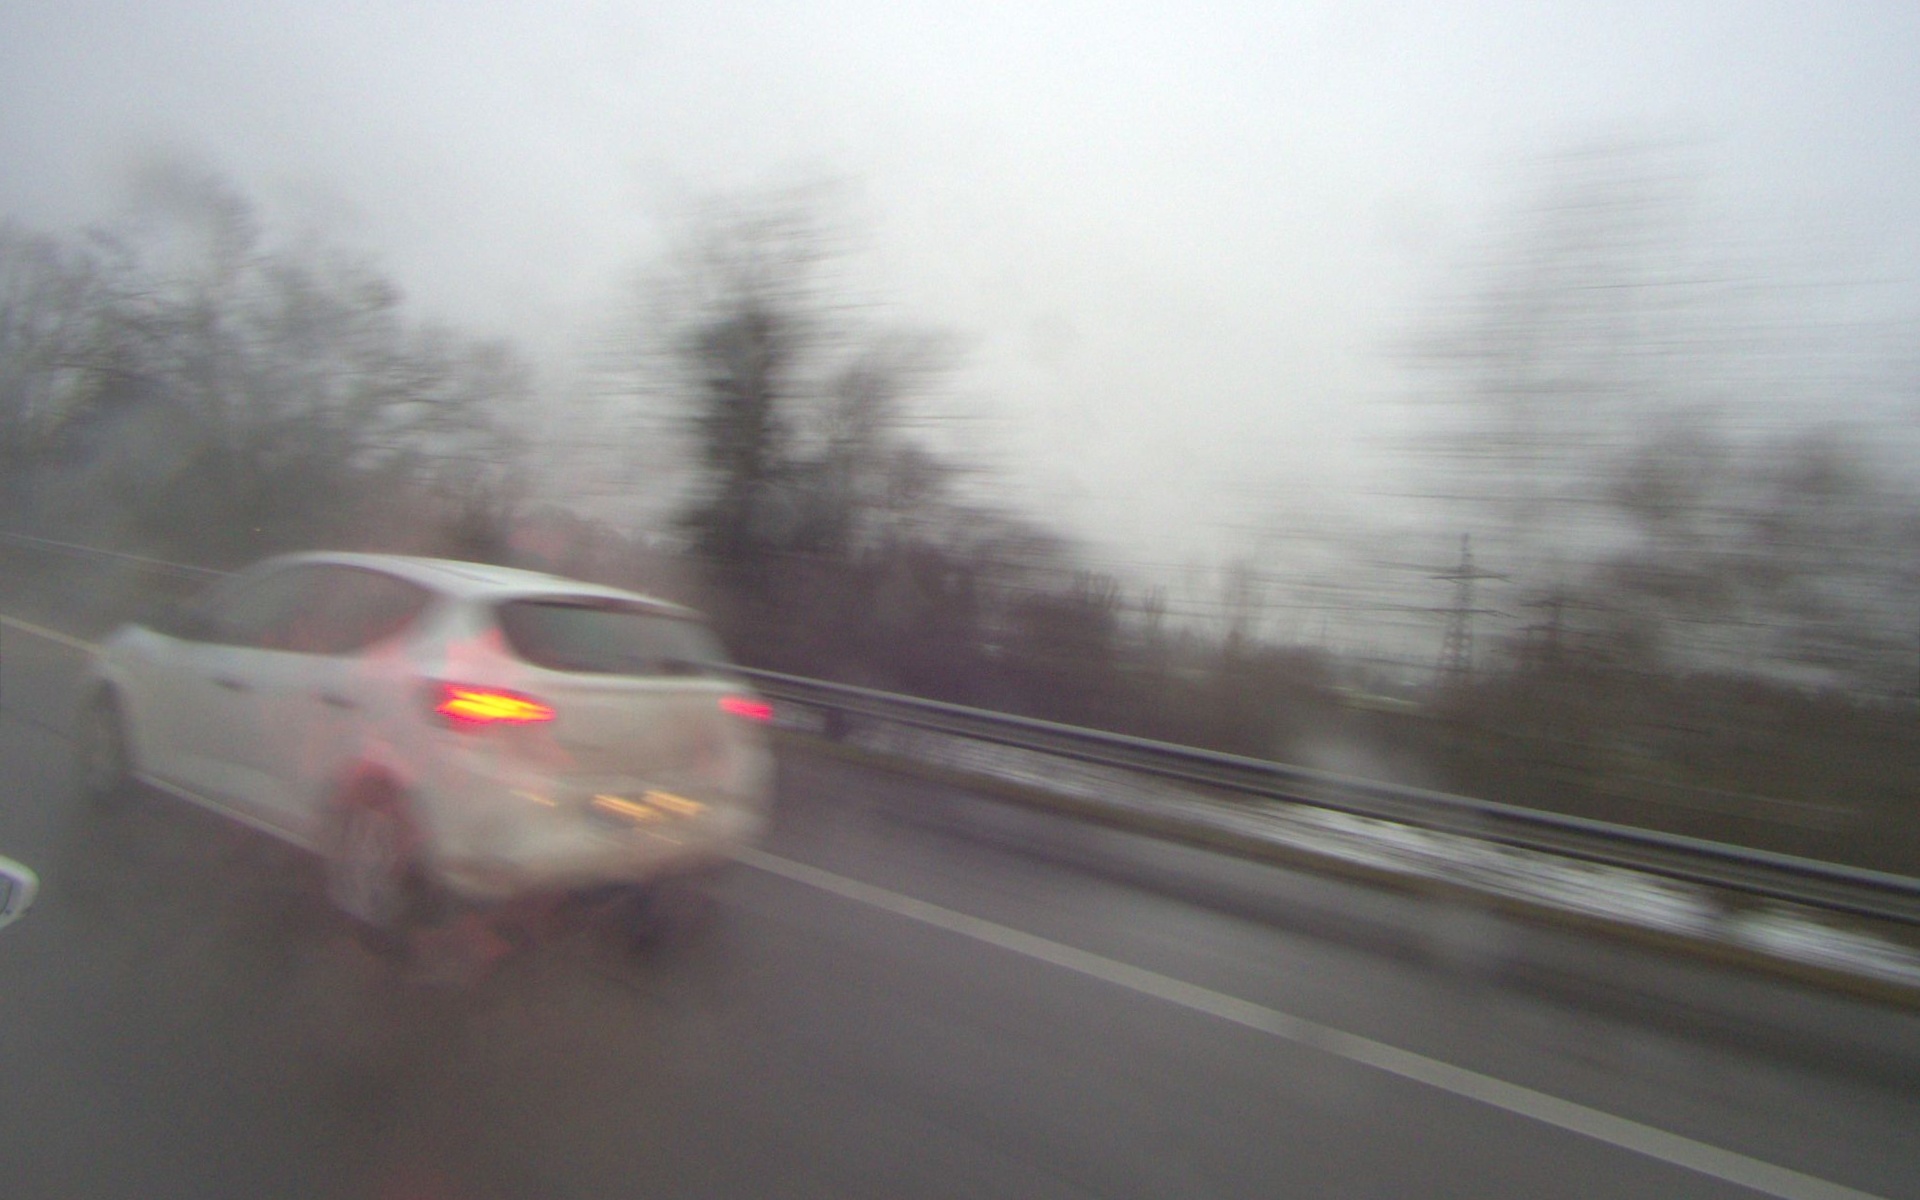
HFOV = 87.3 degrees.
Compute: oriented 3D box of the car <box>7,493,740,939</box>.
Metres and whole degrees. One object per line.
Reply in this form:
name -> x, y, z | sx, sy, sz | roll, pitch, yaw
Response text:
car -> -3.389, 0.404, 5.650 | 3.933, 1.521, 1.800 | 7, 0, 31
